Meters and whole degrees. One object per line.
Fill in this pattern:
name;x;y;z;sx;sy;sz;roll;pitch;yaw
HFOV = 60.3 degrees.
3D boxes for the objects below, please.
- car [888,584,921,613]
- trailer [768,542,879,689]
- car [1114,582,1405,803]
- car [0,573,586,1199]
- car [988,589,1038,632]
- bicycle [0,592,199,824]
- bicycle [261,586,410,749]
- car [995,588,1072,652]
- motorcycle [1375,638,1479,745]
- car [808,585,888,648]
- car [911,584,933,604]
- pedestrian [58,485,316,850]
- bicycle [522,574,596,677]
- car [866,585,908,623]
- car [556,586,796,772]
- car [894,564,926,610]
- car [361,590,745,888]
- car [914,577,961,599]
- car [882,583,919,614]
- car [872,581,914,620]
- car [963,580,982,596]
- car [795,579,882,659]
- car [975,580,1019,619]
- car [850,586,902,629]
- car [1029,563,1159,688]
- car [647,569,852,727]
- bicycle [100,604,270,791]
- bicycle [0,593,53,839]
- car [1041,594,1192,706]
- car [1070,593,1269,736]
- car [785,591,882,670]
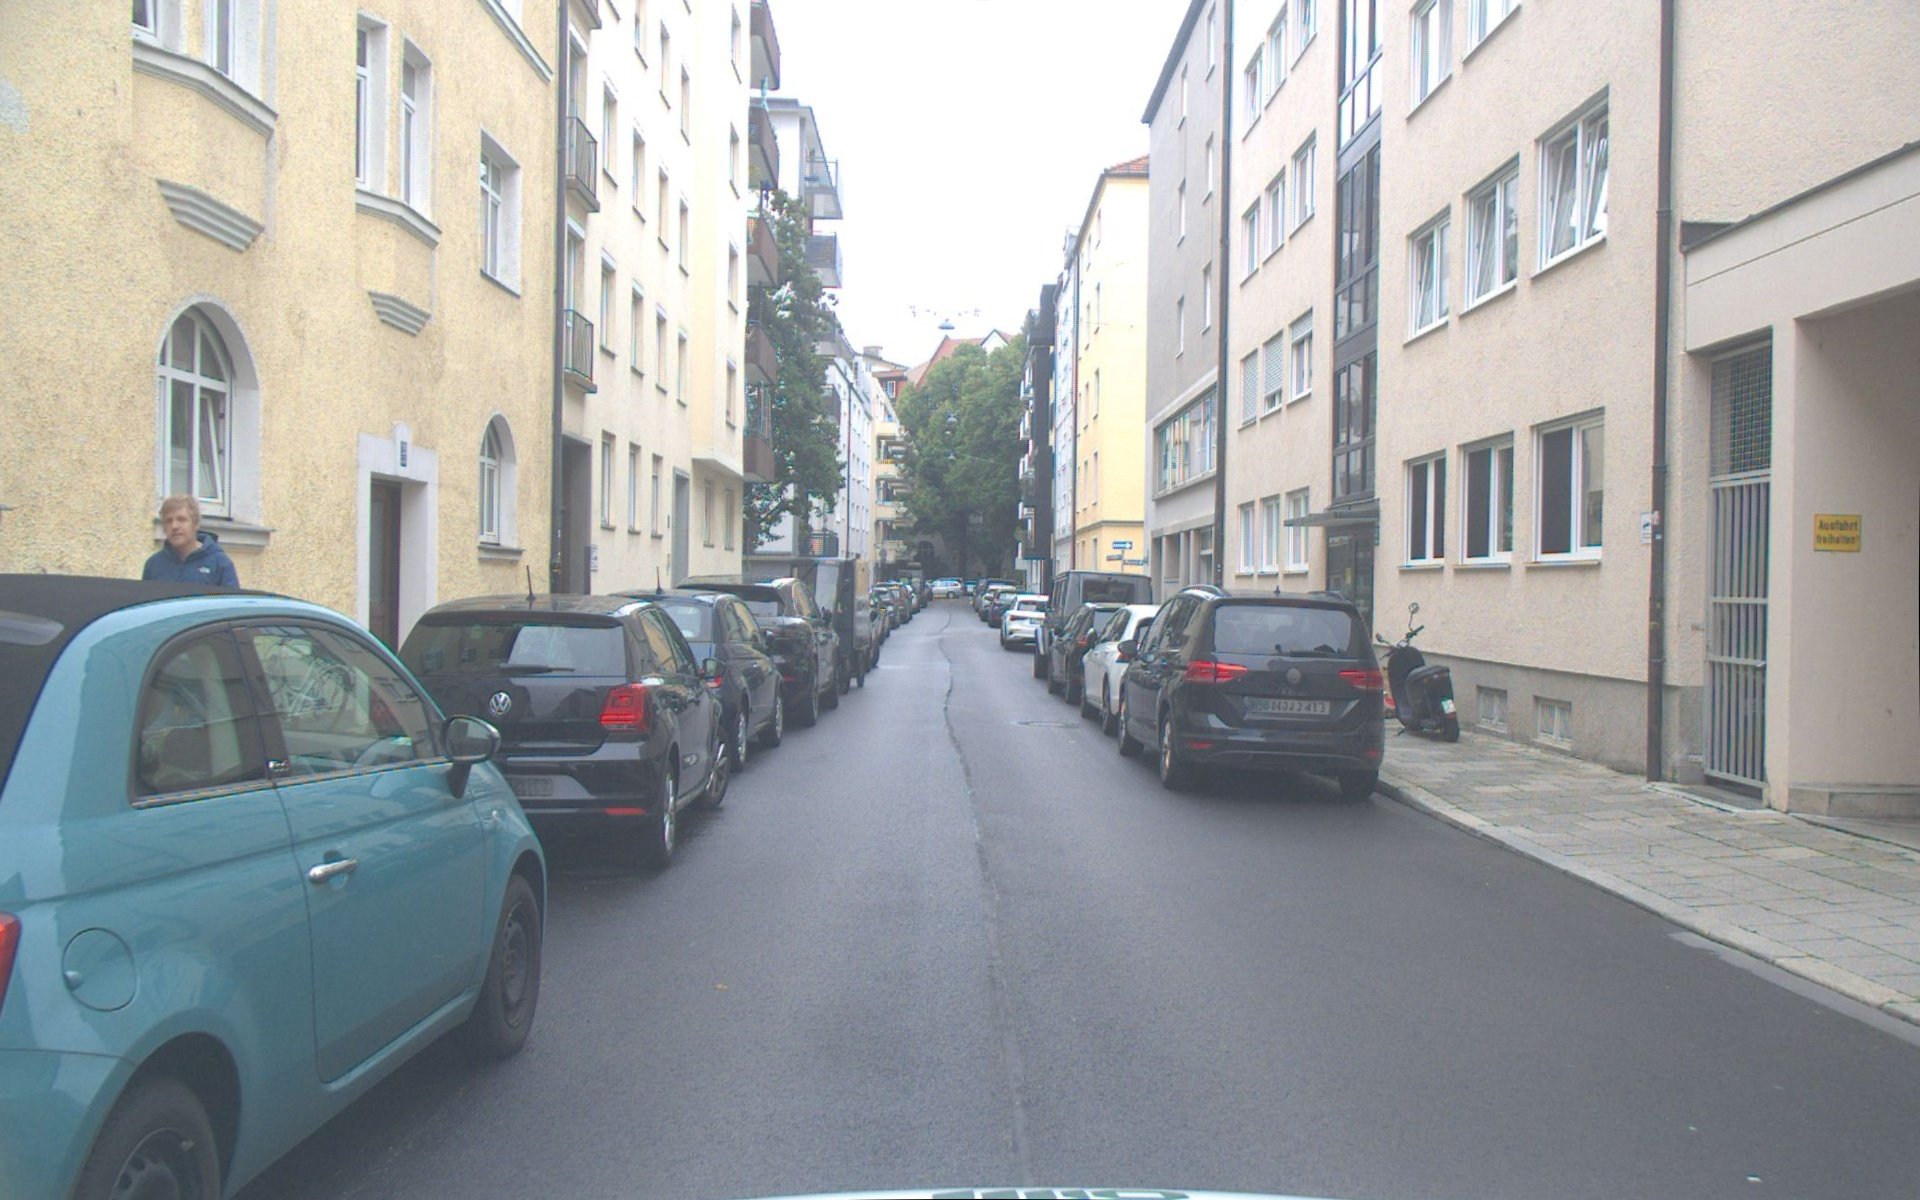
car;-3.056;-0.109;91.852;1.740;1.478;4.045;-2;1;-1
trailer;-2.100;0.229;26.101;1.327;2.153;3.319;1;0;2
car;2.502;0.716;14.835;1.677;1.636;4.243;2;0;-2
car;-2.128;0.695;4.181;1.530;1.486;3.404;0;0;1
car;2.044;0.396;64.910;1.715;1.494;4.342;4;1;-1
bicycle;-5.240;0.589;9.889;0.581;1.255;1.736;1;0;-1
bicycle;-5.156;0.529;13.759;0.581;1.255;1.736;1;0;-1
car;1.944;0.500;44.945;1.782;1.432;3.952;2;3;-1
motorcycle;4.881;0.936;17.387;0.472;0.984;1.911;-3;0;-1
car;-2.868;0.395;43.058;1.729;1.509;4.424;0;1;1
car;-2.837;-0.462;125.202;1.609;1.407;3.482;-2;1;-1
pedestrian;-4.065;0.336;8.785;0.822;1.795;1.067;2;0;-1
bicycle;-5.366;0.332;22.217;0.582;1.301;1.551;3;0;-2
car;-2.977;0.147;67.622;1.659;1.467;3.976;0;1;-2
car;-2.455;0.630;15.036;1.530;1.486;3.476;0;0;1
car;-3.207;-0.835;106.542;1.897;2.850;4.532;-2;1;-1
car;-2.274;0.688;10.147;1.531;1.486;3.762;0;0;-2
car;-1.864;-0.977;134.982;3.807;1.612;1.647;-2;1;-2
car;-3.105;-0.085;86.746;1.740;1.513;4.519;-2;1;0
car;-2.943;0.006;73.610;1.740;1.657;4.414;0;1;-1
car;1.132;-1.100;152.206;1.609;1.407;3.745;-2;1;-1
car;-2.691;0.396;37.499;1.730;1.704;4.366;0;0;-1
car;1.647;-0.063;74.938;1.648;1.594;4.414;3;1;-2
car;-3.005;0.243;59.900;1.658;1.467;3.942;0;1;0
car;2.347;0.392;29.982;1.716;2.009;4.341;3;1;-3
car;-2.404;0.509;19.971;1.840;1.689;4.415;0;0;1
bicycle;-5.412;0.640;11.637;0.430;1.211;1.632;1;0;-1
bicycle;-5.176;0.586;8.037;0.581;1.255;1.736;1;0;-1
car;2.292;0.701;25.243;1.677;1.512;4.242;2;0;-3
car;2.442;0.710;20.265;1.677;1.512;4.242;2;0;-3
car;-2.408;0.554;32.230;1.618;1.461;3.802;0;0;0
